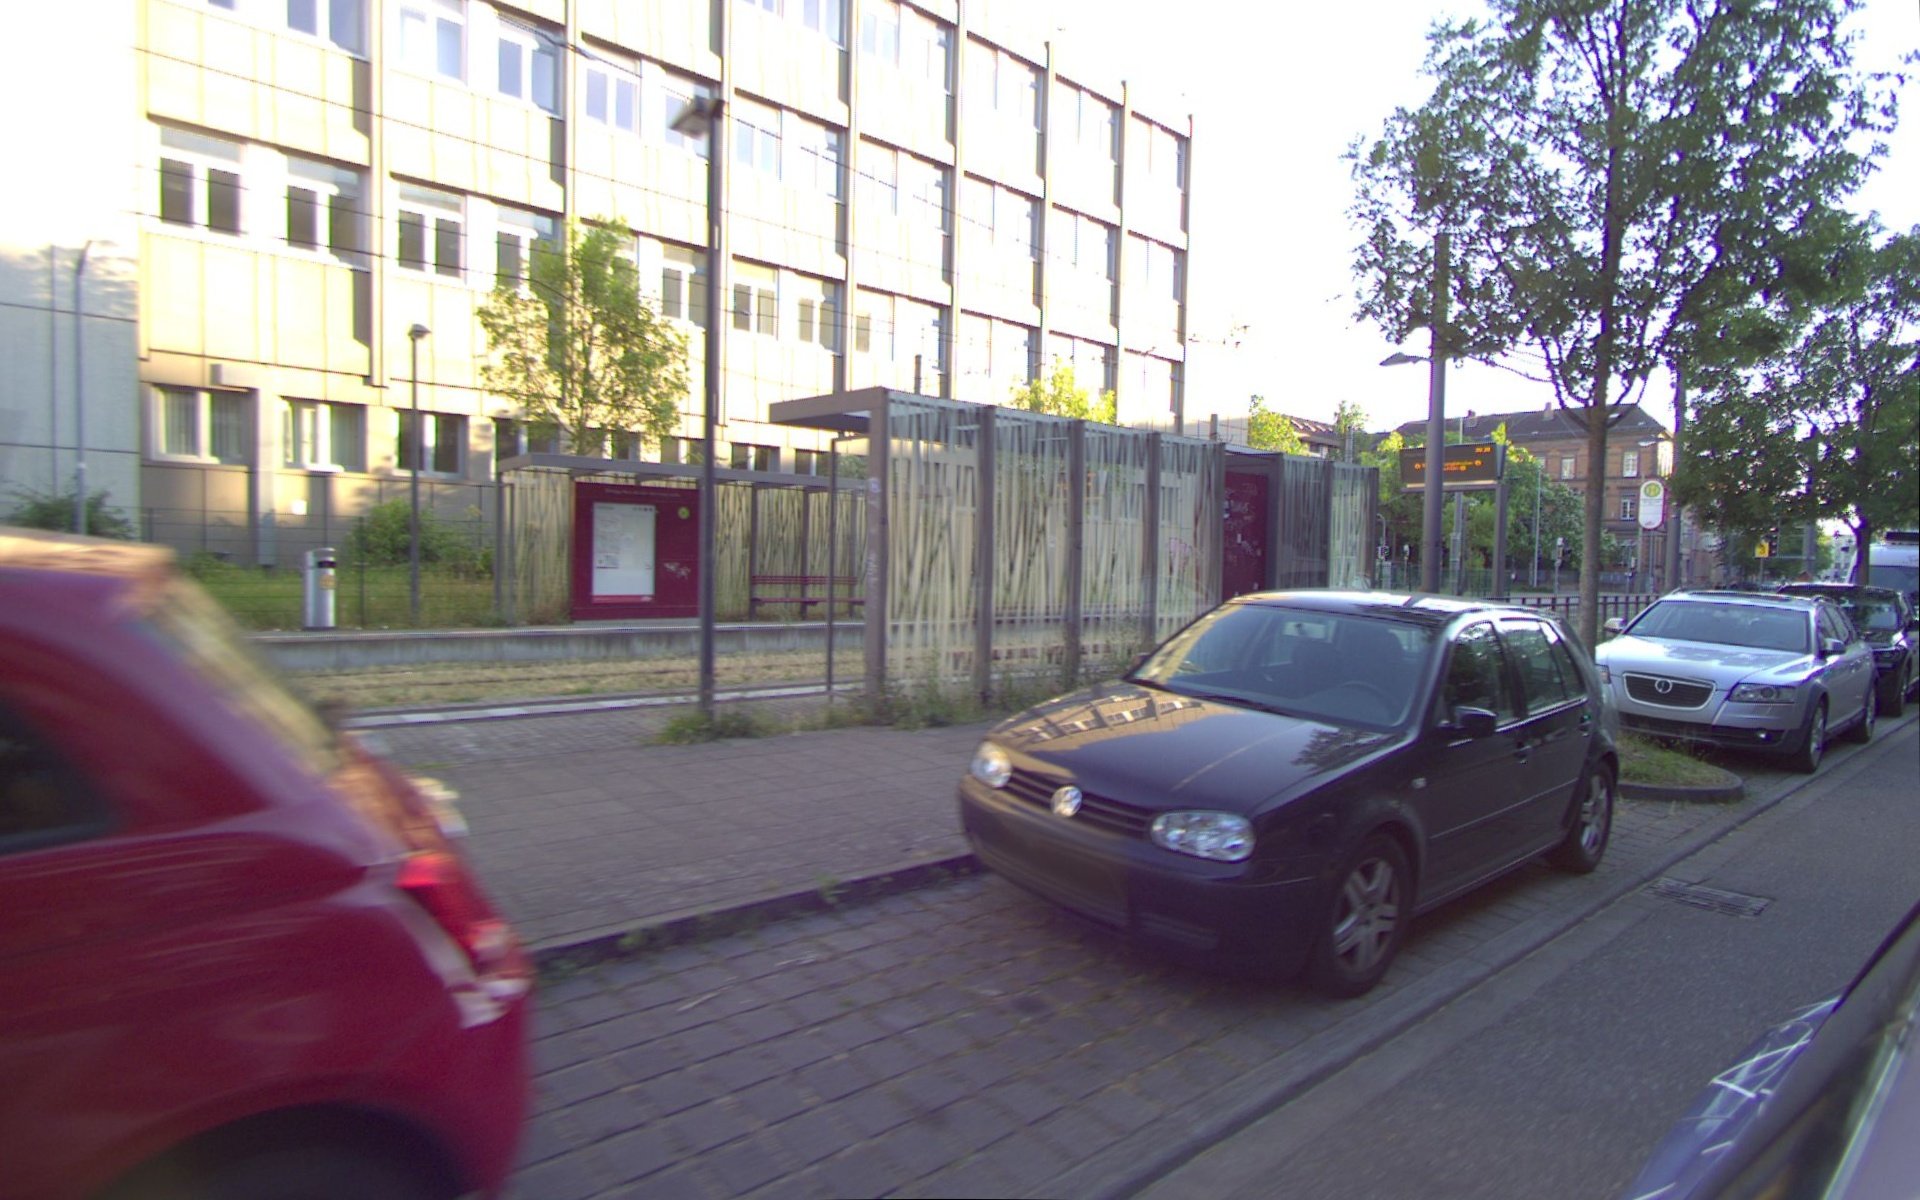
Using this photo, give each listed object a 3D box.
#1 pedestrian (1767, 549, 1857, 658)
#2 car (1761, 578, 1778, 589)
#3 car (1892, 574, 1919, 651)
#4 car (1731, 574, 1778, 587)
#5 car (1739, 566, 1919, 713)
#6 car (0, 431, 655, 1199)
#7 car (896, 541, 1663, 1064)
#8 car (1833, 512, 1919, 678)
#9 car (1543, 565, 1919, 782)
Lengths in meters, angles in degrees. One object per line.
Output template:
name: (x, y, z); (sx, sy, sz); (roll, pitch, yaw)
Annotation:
pedestrian: (16.426, 0.047, 19.539); (0.962, 2.038, 0.807); (1, 2, 4)
car: (116.268, -2.432, 145.303); (1.777, 1.475, 4.239); (3, 3, 37)
car: (22.191, 0.299, 22.547); (3.947, 1.602, 1.751); (-1, 6, -44)
car: (100.277, -2.533, 127.797); (4.681, 1.504, 1.881); (3, 3, 38)
car: (12.392, 0.419, 14.021); (4.194, 1.663, 1.711); (-1, 5, -42)
car: (-2.633, 0.506, 1.110); (4.060, 1.511, 1.711); (-1, 5, -42)
car: (1.778, 0.522, 4.866); (3.932, 1.469, 1.711); (-1, 5, -42)
car: (17.800, -0.107, 18.445); (5.342, 2.688, 2.055); (-1, 6, -43)
car: (7.615, 0.514, 9.809); (4.696, 1.513, 1.802); (-1, 6, -40)
